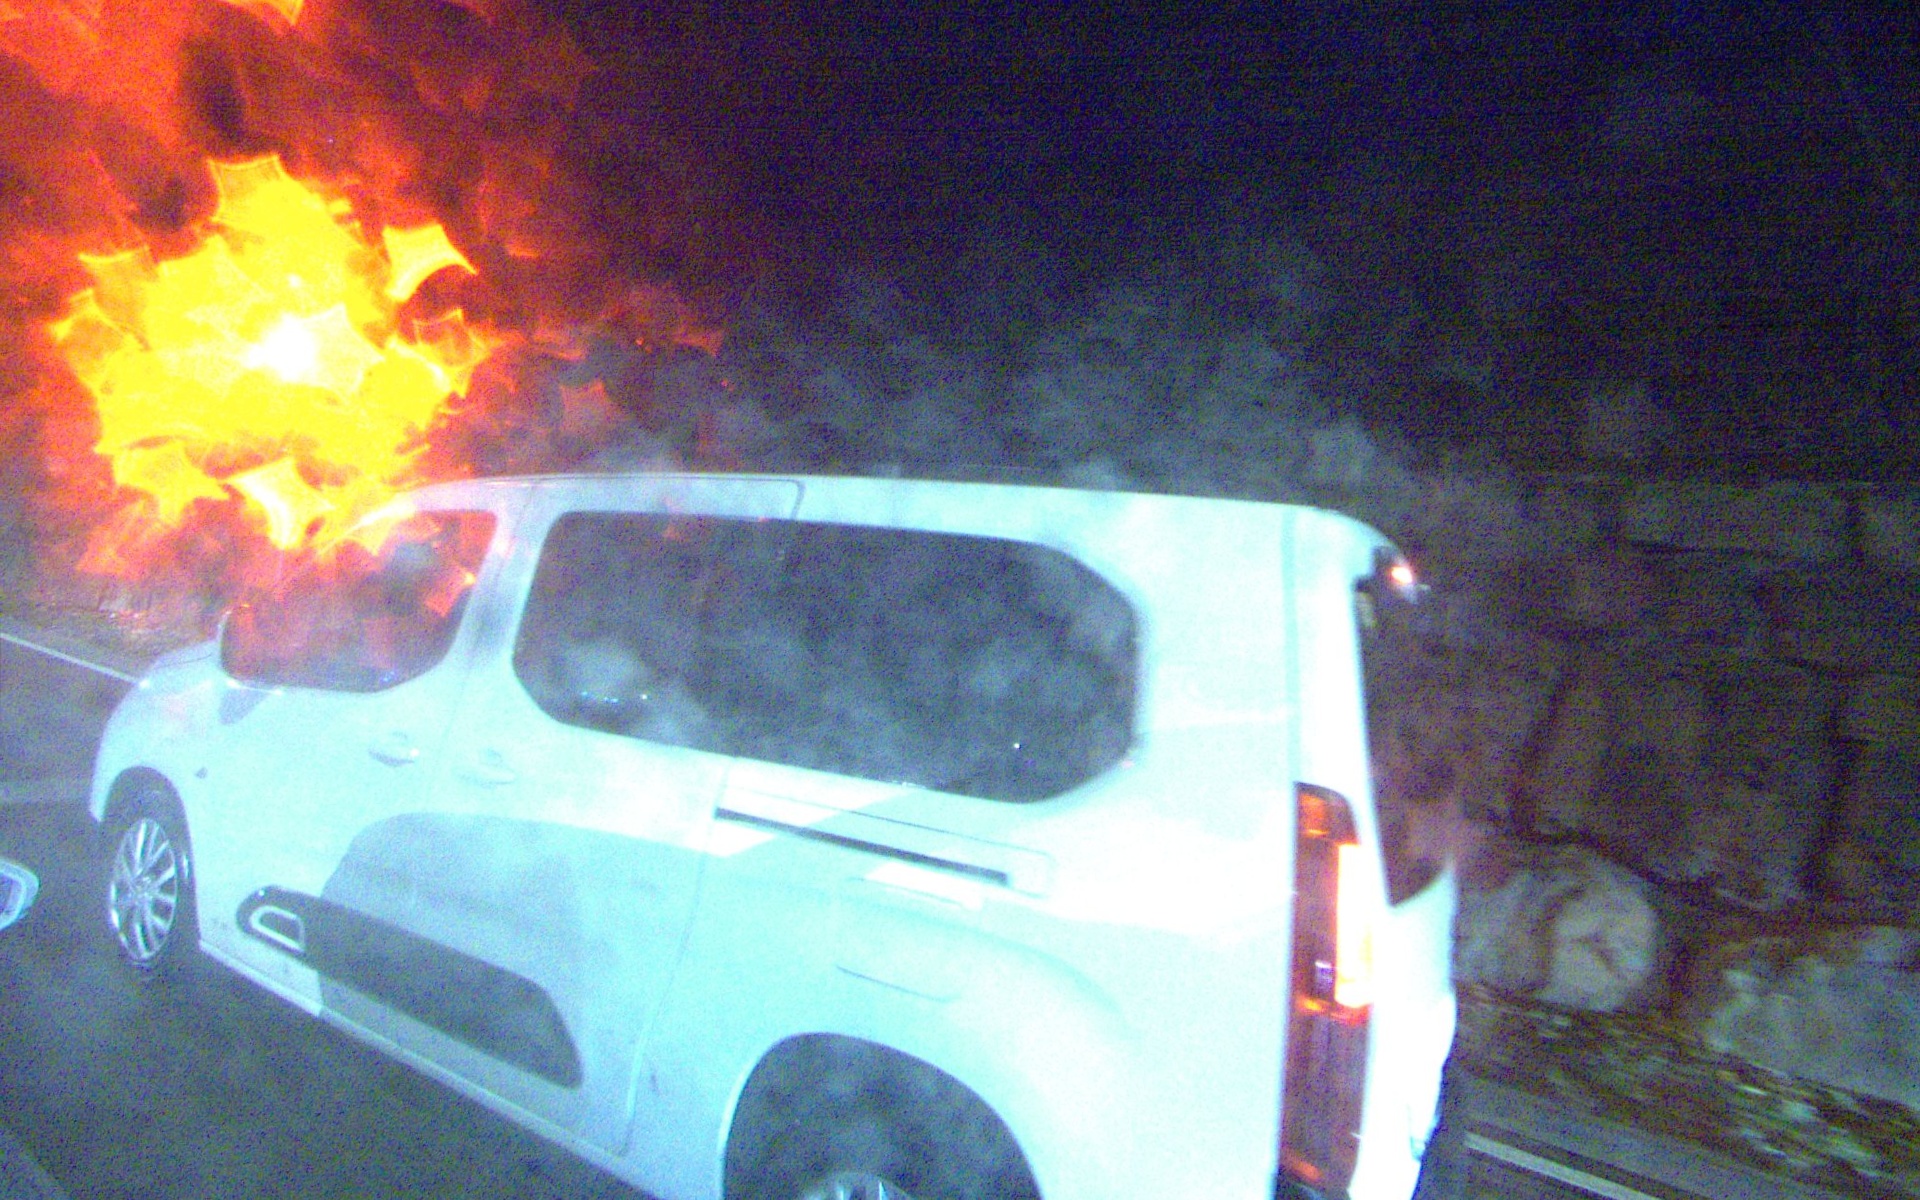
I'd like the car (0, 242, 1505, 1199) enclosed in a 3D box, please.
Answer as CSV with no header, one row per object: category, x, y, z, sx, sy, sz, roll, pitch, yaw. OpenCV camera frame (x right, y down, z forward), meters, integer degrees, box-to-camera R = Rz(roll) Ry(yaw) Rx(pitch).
car,-0.940,0.404,3.196,4.501,2.045,1.795,7,-1,29
